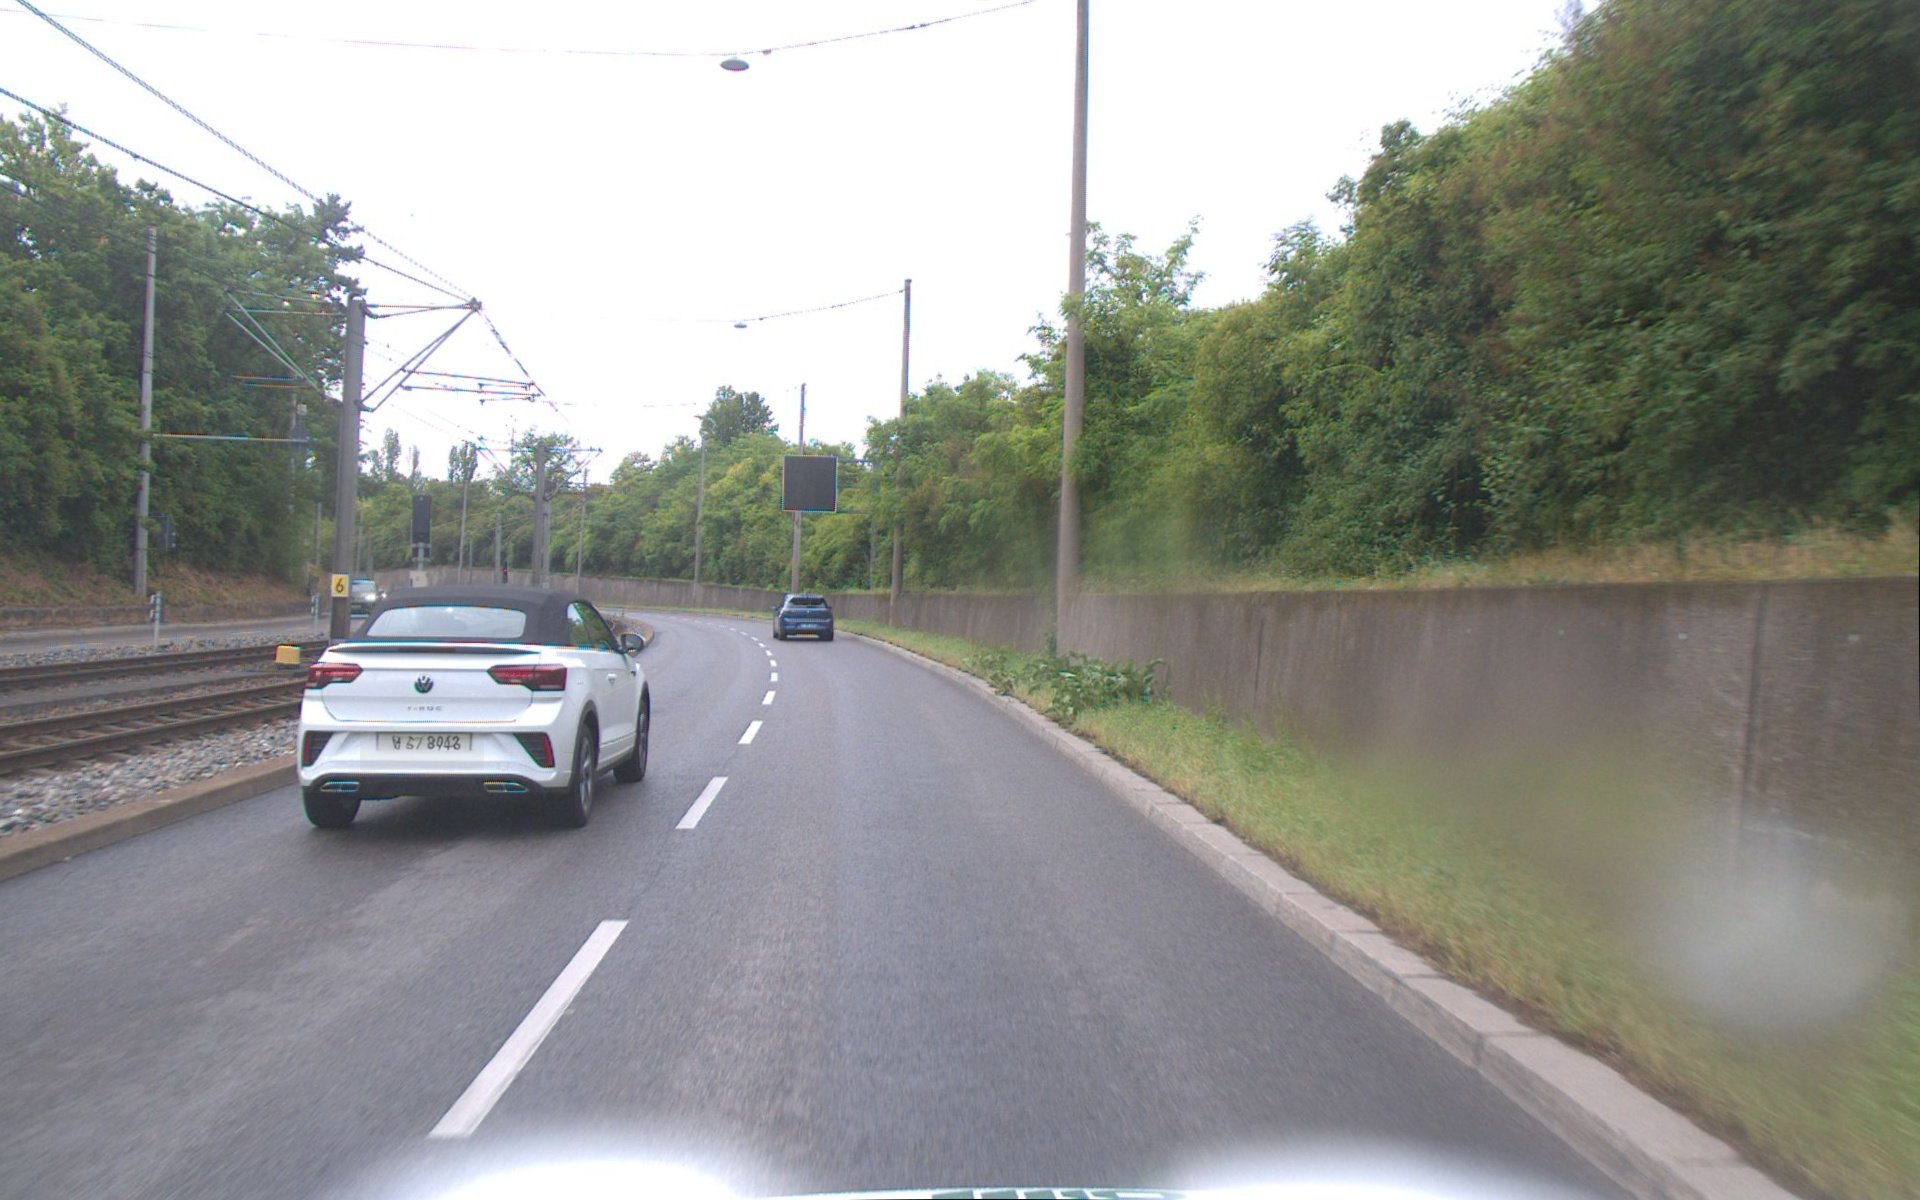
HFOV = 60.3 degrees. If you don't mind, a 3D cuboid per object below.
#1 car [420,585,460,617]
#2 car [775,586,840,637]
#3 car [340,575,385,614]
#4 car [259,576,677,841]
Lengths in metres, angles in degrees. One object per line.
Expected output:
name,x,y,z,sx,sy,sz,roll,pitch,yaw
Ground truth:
car,-25.099,0.041,79.854,1.678,1.439,4.014,1,0,-16
car,-4.966,0.333,53.448,1.731,1.527,3.991,2,0,-10
car,-27.070,-0.254,74.870,1.759,1.699,4.708,1,0,-22
car,-3.276,0.630,11.996,1.834,1.551,4.538,0,0,-2
